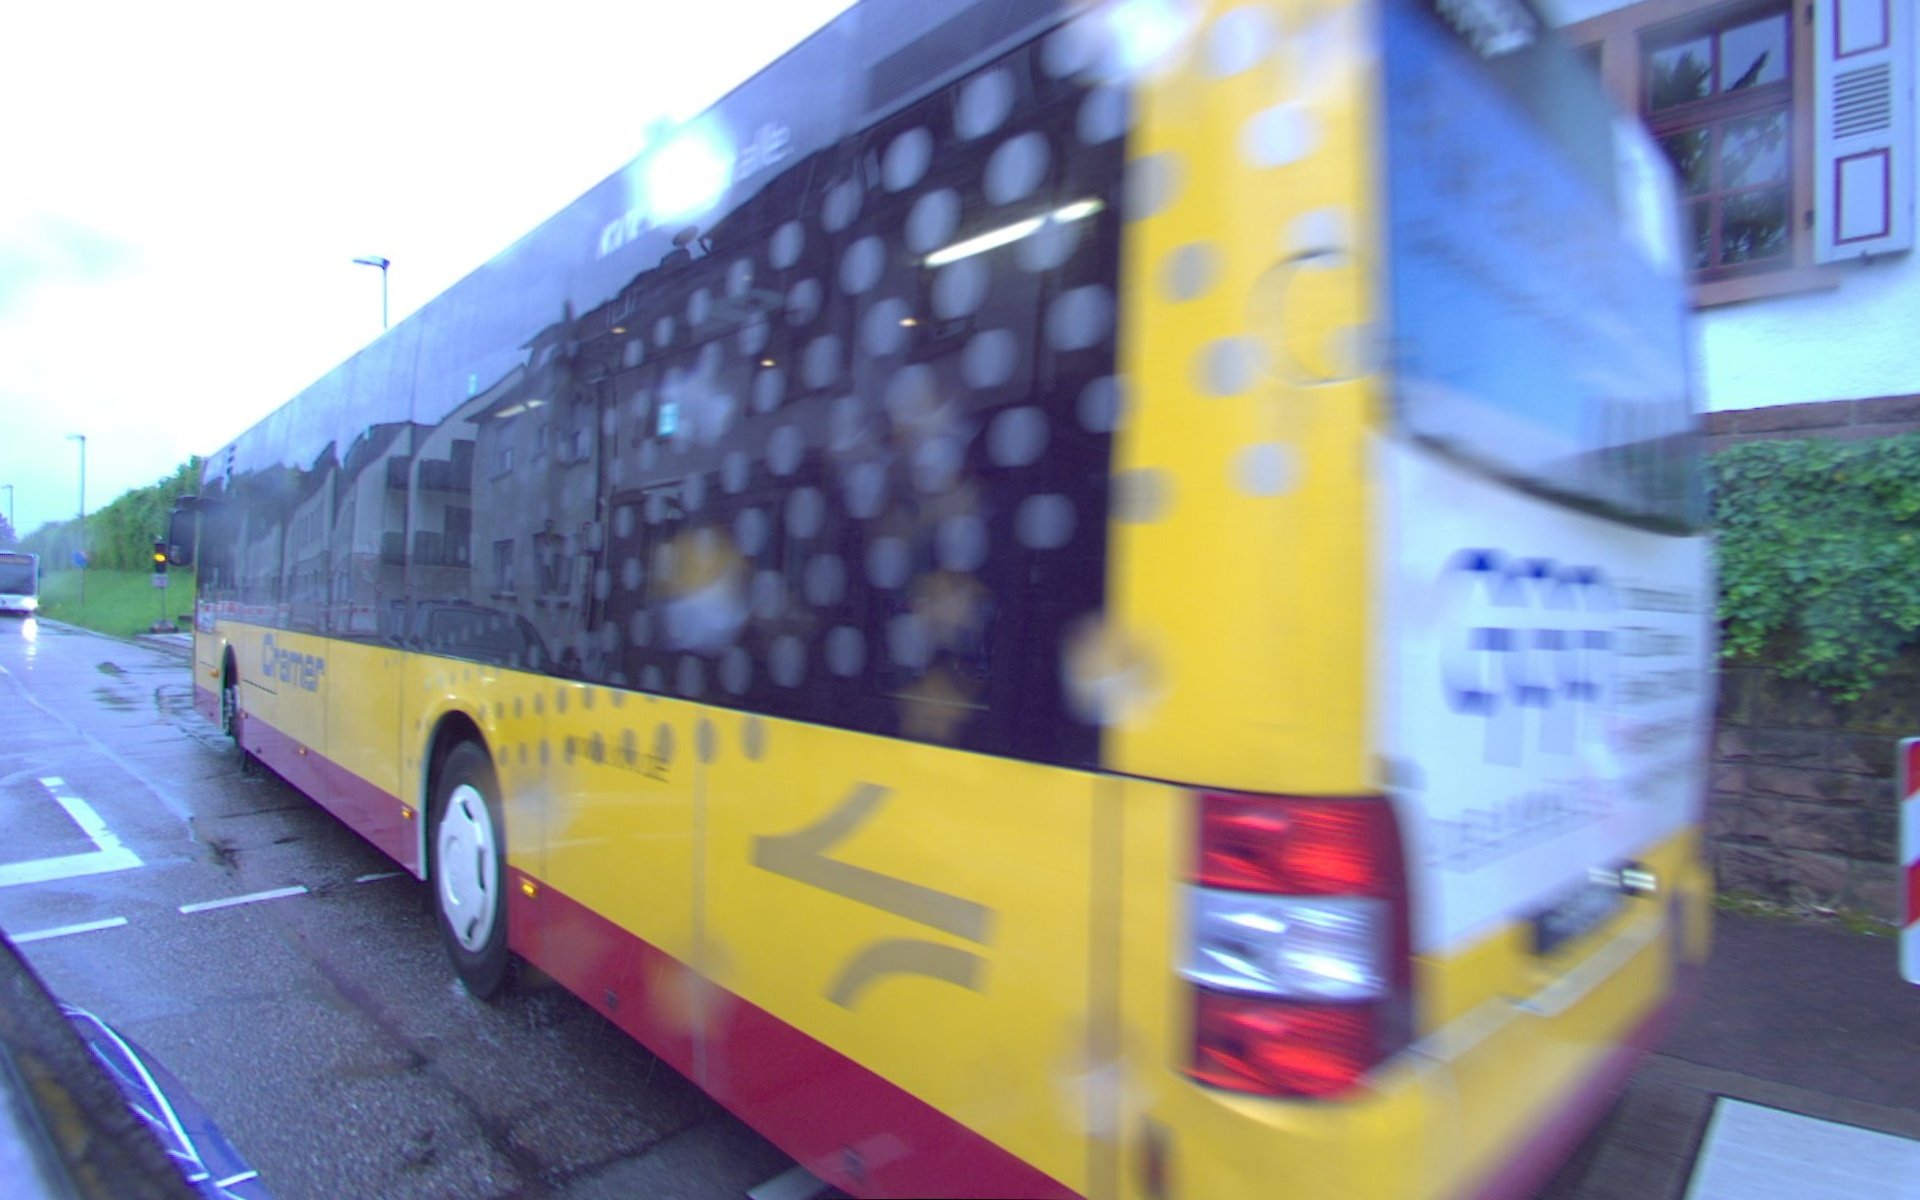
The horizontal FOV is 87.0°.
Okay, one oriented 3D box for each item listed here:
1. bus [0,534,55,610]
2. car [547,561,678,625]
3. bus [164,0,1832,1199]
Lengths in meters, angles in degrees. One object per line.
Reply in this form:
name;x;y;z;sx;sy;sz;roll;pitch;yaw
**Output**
bus;-48.588;-1.442;50.959;13.874;3.437;3.394;2;1;44
car;-10.378;-0.265;30.062;4.189;1.728;1.972;2;2;43
bus;-2.552;-0.275;6.365;2.773;2.961;11.953;-1;2;-43
